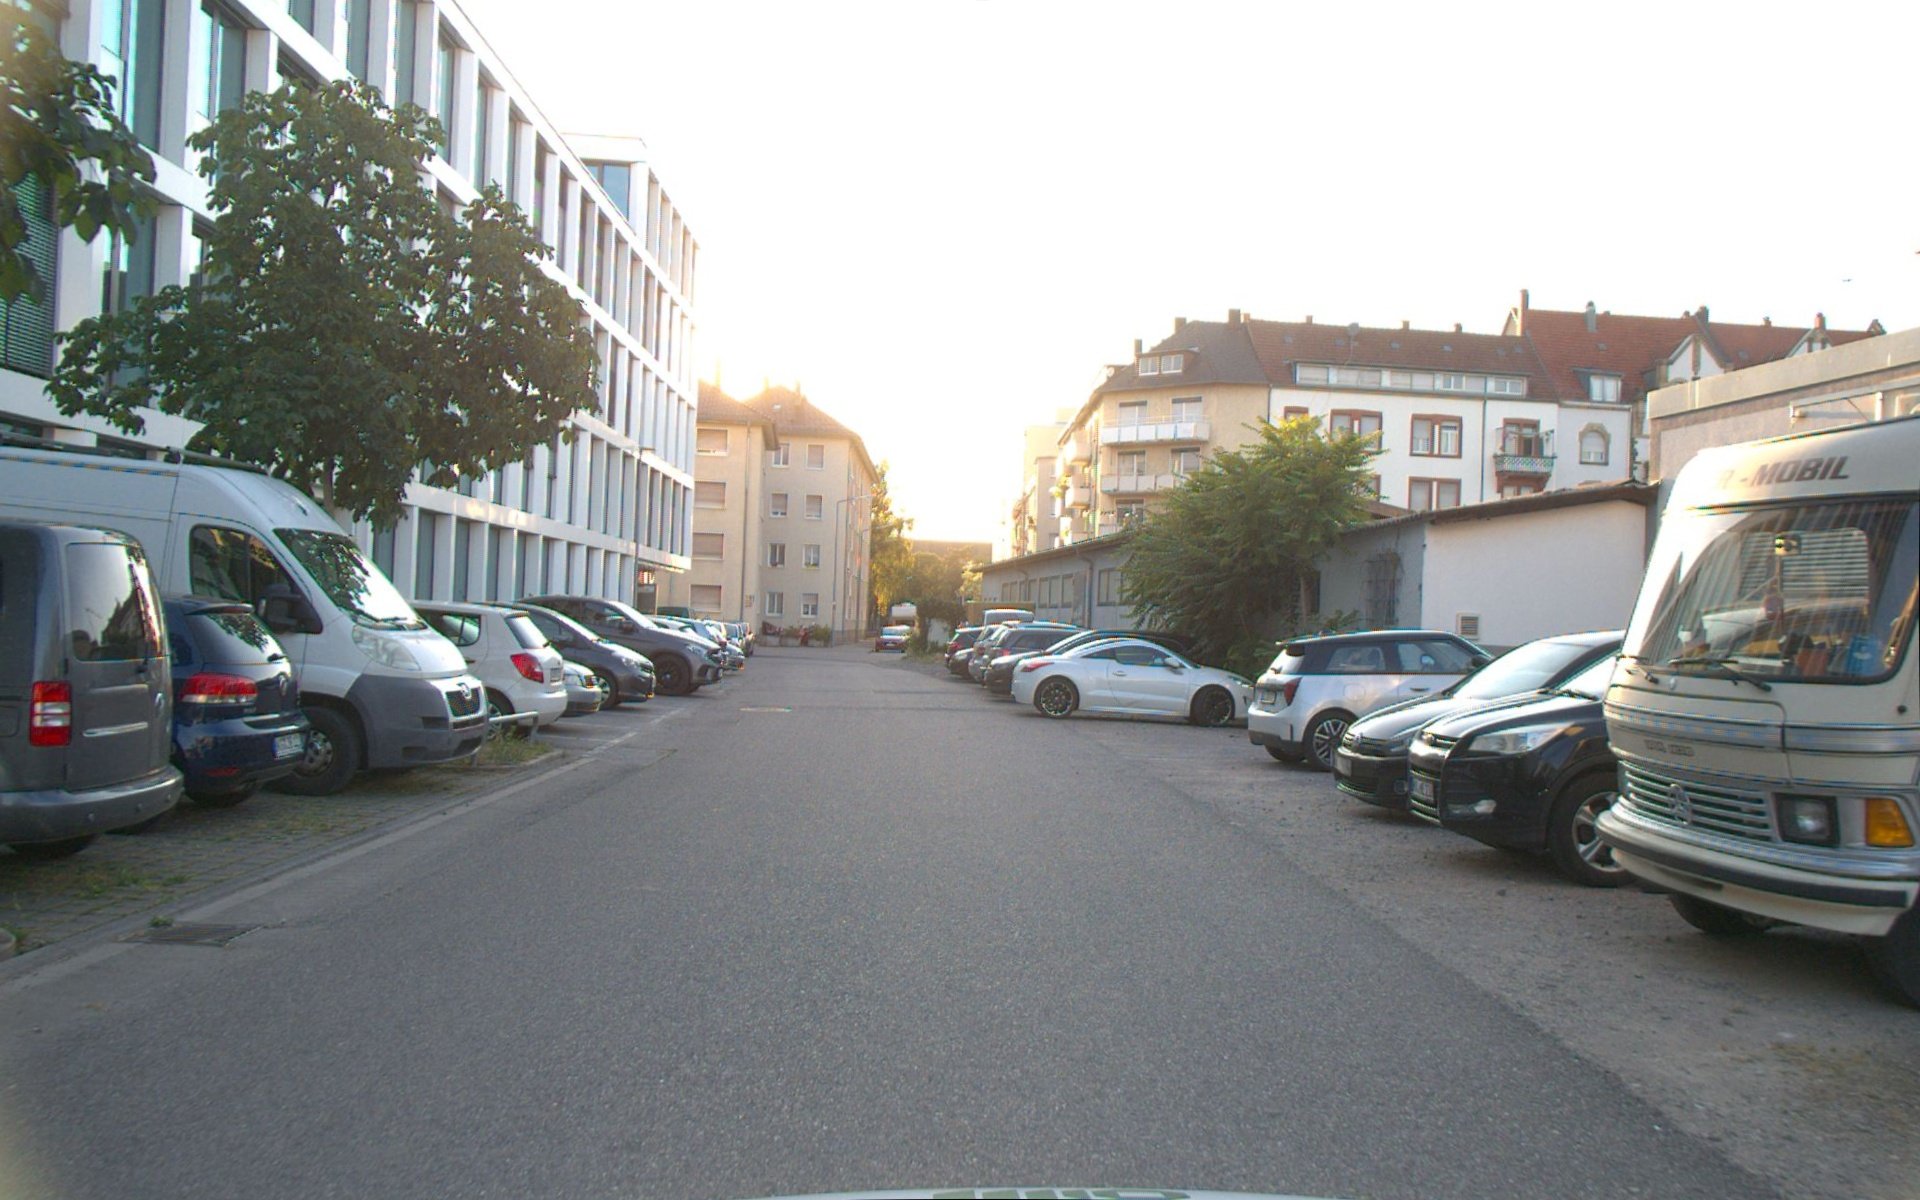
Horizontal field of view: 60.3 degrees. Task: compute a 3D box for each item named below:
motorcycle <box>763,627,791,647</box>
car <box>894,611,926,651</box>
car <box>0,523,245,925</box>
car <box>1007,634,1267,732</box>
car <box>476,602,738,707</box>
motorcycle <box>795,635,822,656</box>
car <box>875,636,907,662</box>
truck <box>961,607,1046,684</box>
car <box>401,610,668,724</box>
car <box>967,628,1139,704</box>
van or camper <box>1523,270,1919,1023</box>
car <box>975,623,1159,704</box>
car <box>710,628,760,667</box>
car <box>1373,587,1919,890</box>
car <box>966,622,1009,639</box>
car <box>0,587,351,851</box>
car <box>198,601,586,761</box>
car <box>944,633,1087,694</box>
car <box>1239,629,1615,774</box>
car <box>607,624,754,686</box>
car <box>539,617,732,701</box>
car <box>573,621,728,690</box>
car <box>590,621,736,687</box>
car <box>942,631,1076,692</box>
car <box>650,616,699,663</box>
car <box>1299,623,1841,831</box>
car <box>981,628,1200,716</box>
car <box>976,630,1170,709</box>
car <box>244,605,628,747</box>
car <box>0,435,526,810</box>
[{"bbox_3d":[-10.370,2.103,93.938,0.708,1.098,2.081,1,-1,20],"label":"motorcycle"},{"bbox_3d":[-4.316,2.716,144.213,2.566,3.326,7.695,0,-1,0],"label":"car"},{"bbox_3d":[-6.067,0.497,8.386,4.029,1.848,1.813,3,-1,-7],"label":"car"},{"bbox_3d":[2.899,1.359,27.740,4.117,1.391,1.823,3,-1,-1],"label":"car"},{"bbox_3d":[-6.750,1.026,31.954,4.523,1.736,2.004,3,-1,1],"label":"car"},{"bbox_3d":[-8.831,2.650,96.513,0.675,1.181,2.033,1,-1,23],"label":"motorcycle"},{"bbox_3d":[-4.120,2.903,98.761,1.808,1.499,4.076,1,-1,-2],"label":"car"},{"bbox_3d":[1.298,1.420,52.076,2.056,2.239,5.705,2,-1,-4],"label":"truck"},{"bbox_3d":[-6.557,1.014,25.780,3.707,1.549,1.692,3,-1,-4],"label":"car"},{"bbox_3d":[2.228,1.586,40.464,3.906,1.637,1.936,3,-1,-5],"label":"car"},{"bbox_3d":[5.949,0.224,7.918,5.668,2.915,2.484,1,-1,-6],"label":"van or camper"},{"bbox_3d":[2.442,1.451,38.118,3.909,1.647,1.824,3,-1,-8],"label":"car"},{"bbox_3d":[-9.741,2.036,71.897,1.745,1.504,4.327,5,-1,-4],"label":"car"},{"bbox_3d":[5.015,0.847,10.799,4.154,1.772,1.967,0,-1,0],"label":"car"},{"bbox_3d":[2.547,2.881,154.327,3.906,1.557,1.658,0,-1,-1],"label":"car"},{"bbox_3d":[-6.332,0.681,10.793,4.029,1.526,1.772,3,-1,-7],"label":"car"},{"bbox_3d":[-6.164,0.864,18.263,3.634,1.521,1.706,3,-1,-3],"label":"car"},{"bbox_3d":[1.504,1.740,45.448,3.686,1.470,1.843,3,-2,-5],"label":"car"},{"bbox_3d":[5.085,1.090,18.270,3.633,1.505,1.710,1,-1,-6],"label":"car"},{"bbox_3d":[-7.911,1.543,47.016,3.847,1.537,1.687,3,-1,-1],"label":"car"},{"bbox_3d":[-6.733,1.209,34.547,3.591,1.537,1.696,3,-1,1],"label":"car"},{"bbox_3d":[-7.835,1.405,42.139,3.581,1.537,1.687,3,-1,-2],"label":"car"},{"bbox_3d":[-7.918,1.435,44.359,3.581,1.537,1.687,3,-1,-2],"label":"car"},{"bbox_3d":[1.386,1.762,47.884,3.684,1.562,1.890,2,0,-3],"label":"car"},{"bbox_3d":[-13.223,1.811,76.889,1.762,2.014,4.685,2,0,-4],"label":"car"},{"bbox_3d":[5.002,1.002,13.818,3.929,1.591,1.709,1,-1,-8],"label":"car"},{"bbox_3d":[2.544,1.435,33.004,4.118,1.529,1.888,3,-2,-3],"label":"car"},{"bbox_3d":[2.374,1.484,35.376,3.905,1.471,1.825,3,-2,-4],"label":"car"},{"bbox_3d":[-6.530,0.930,20.953,4.220,1.521,1.794,3,-1,-1],"label":"car"},{"bbox_3d":[-6.530,0.138,13.552,5.272,2.679,2.077,3,-1,-1],"label":"car"}]
